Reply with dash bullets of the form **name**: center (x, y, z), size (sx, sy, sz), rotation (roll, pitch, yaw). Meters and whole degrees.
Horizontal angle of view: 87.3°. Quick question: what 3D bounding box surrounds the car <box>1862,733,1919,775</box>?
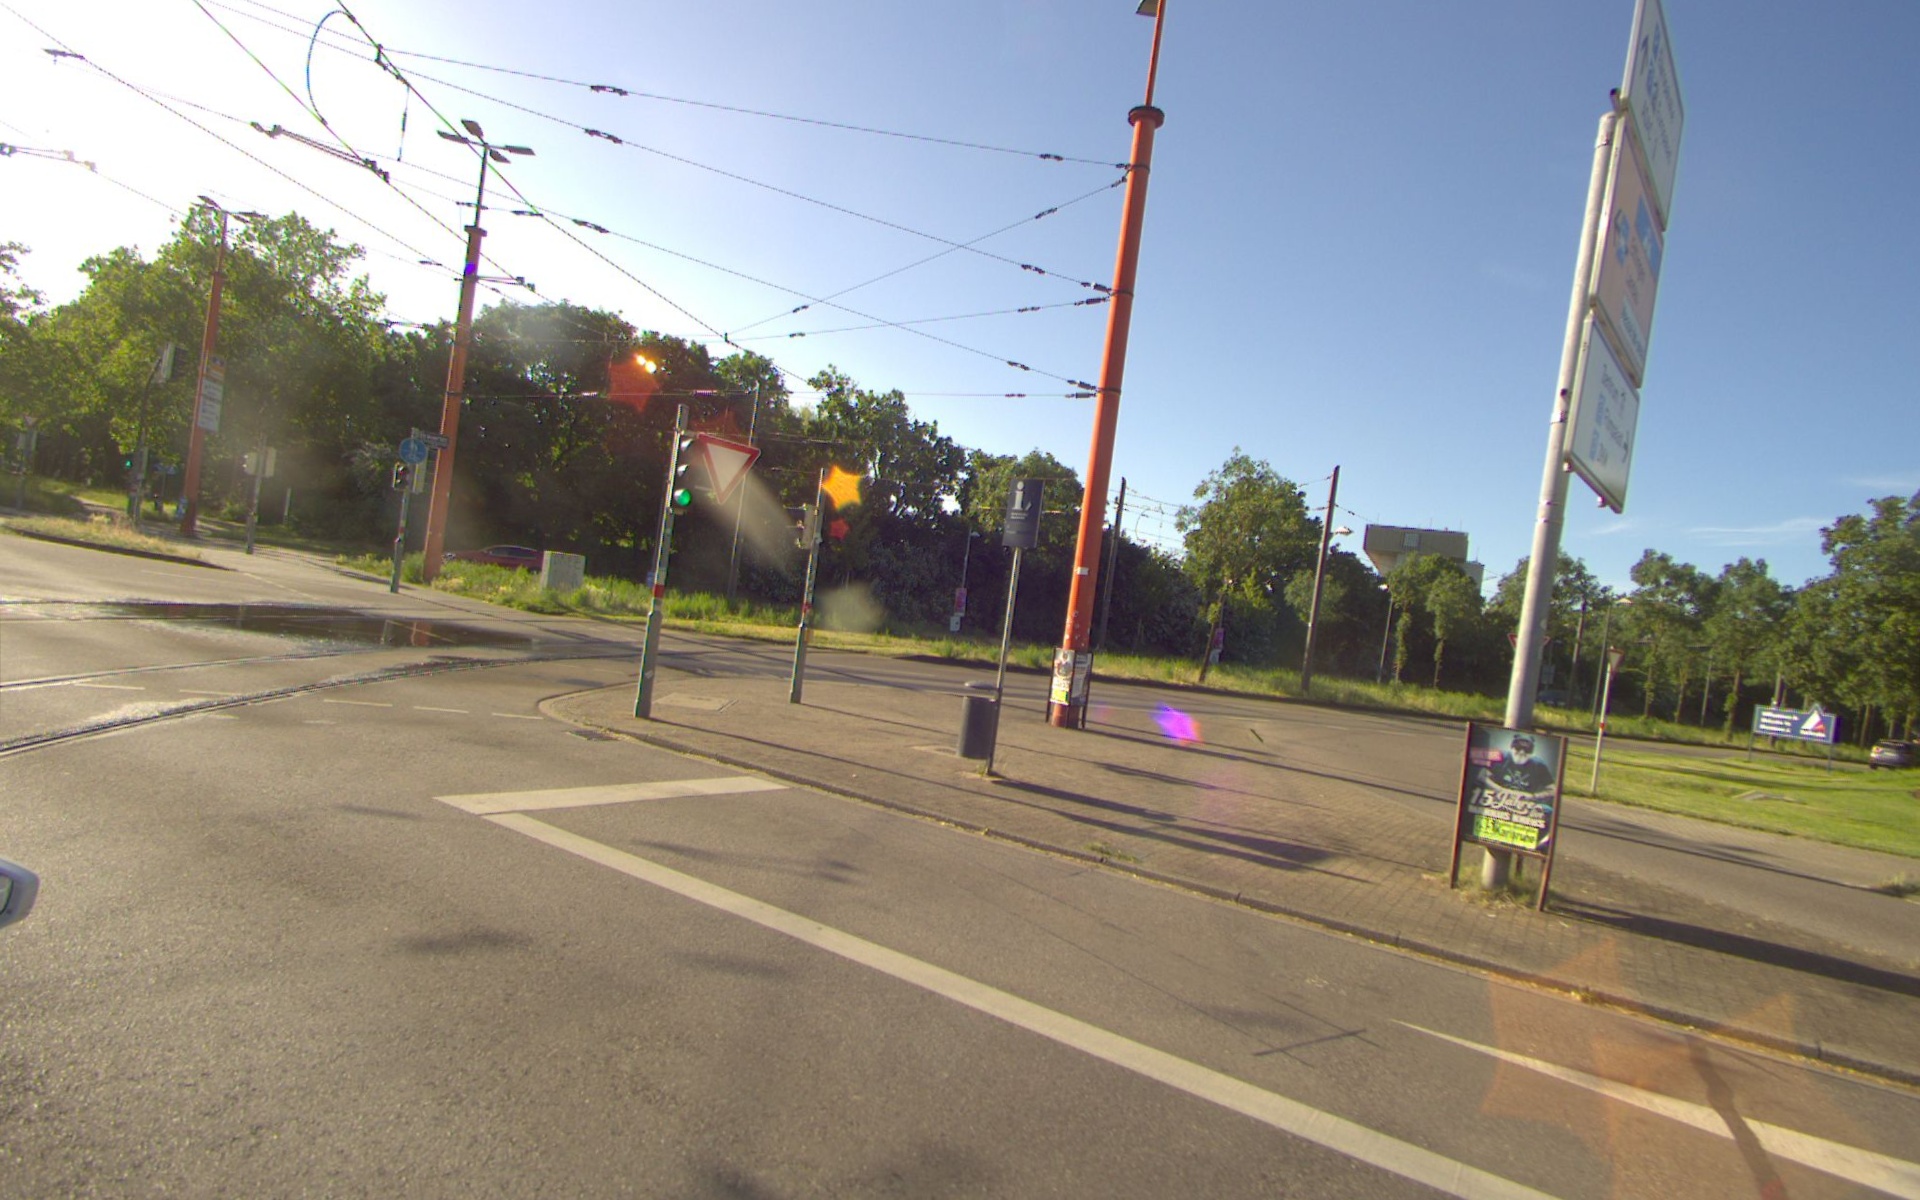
- **car**: center (49.813, 8.202, 53.068), size (4.648, 1.724, 1.983), rotation (9, -1, -32)

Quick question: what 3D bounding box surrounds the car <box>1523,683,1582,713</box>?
- **car**: center (48.695, 8.068, 82.595), size (4.769, 1.753, 1.984), rotation (9, 0, -31)

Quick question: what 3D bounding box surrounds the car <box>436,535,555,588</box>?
- **car**: center (-19.372, -1.618, 41.990), size (4.245, 1.513, 1.984), rotation (9, 0, -31)
